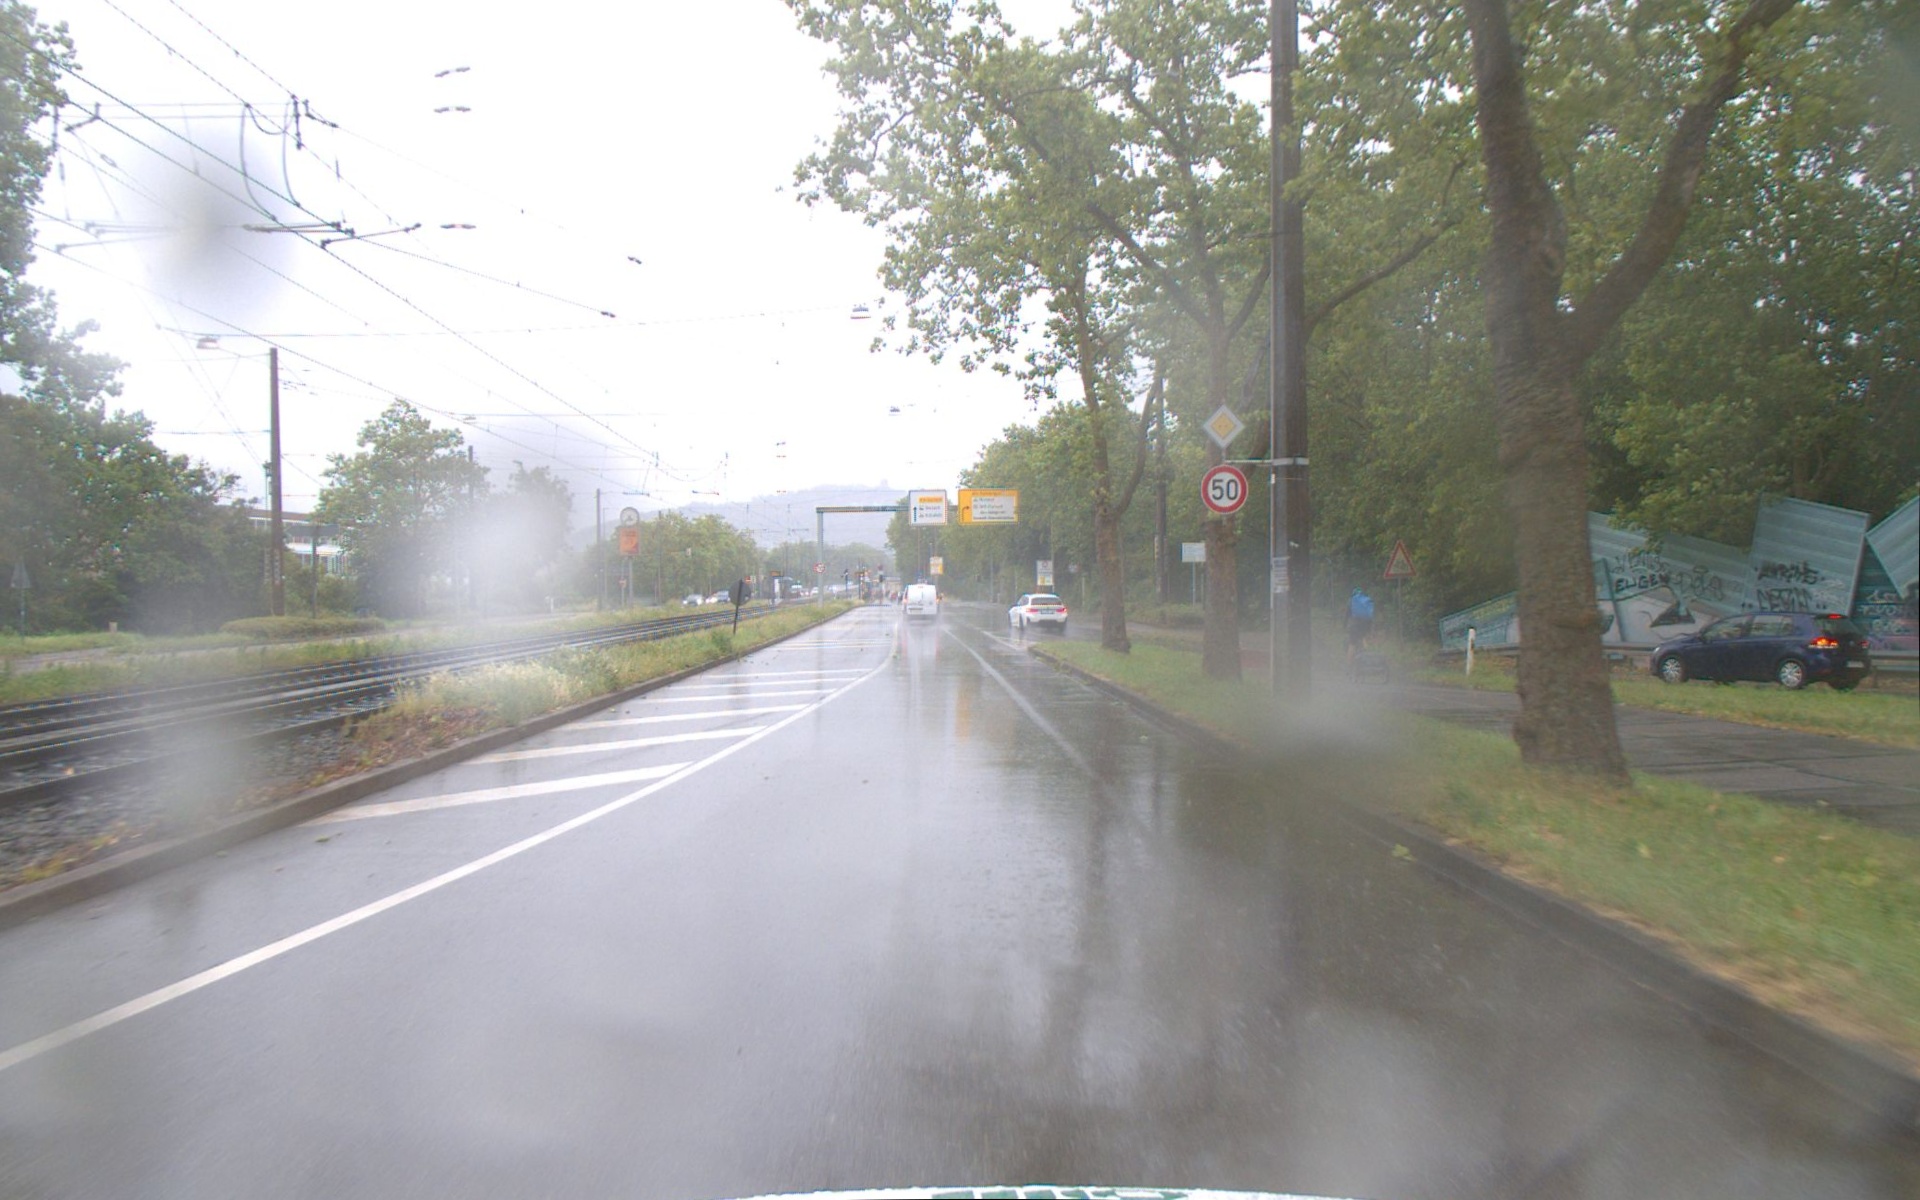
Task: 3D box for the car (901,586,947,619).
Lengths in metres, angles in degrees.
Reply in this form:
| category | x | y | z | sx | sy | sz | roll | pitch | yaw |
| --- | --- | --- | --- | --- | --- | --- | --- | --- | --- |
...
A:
| category | x | y | z | sx | sy | sz | roll | pitch | yaw |
| --- | --- | --- | --- | --- | --- | --- | --- | --- | --- |
| car | -1.697 | 0.094 | 77.060 | 2.036 | 1.445 | 3.998 | -2 | 0 | -2 |

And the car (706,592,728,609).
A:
| category | x | y | z | sx | sy | sz | roll | pitch | yaw |
| --- | --- | --- | --- | --- | --- | --- | --- | --- | --- |
| car | -24.119 | 0.024 | 164.532 | 1.906 | 1.644 | 4.982 | -1 | 0 | -6 |

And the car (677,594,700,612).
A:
| category | x | y | z | sx | sy | sz | roll | pitch | yaw |
| --- | --- | --- | --- | --- | --- | --- | --- | --- | --- |
| car | -27.131 | 0.284 | 165.124 | 1.905 | 1.716 | 4.775 | -1 | 0 | -5 |

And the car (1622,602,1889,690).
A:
| category | x | y | z | sx | sy | sz | roll | pitch | yaw |
| --- | --- | --- | --- | --- | --- | --- | --- | --- | --- |
| car | 15.280 | 0.830 | 32.025 | 1.842 | 1.563 | 4.475 | 0 | 0 | -28 |

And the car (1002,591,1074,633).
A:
| category | x | y | z | sx | sy | sz | roll | pitch | yaw |
| --- | --- | --- | --- | --- | --- | --- | --- | --- | --- |
| car | 3.015 | 0.459 | 64.884 | 1.913 | 1.563 | 4.456 | 0 | 0 | -10 |
